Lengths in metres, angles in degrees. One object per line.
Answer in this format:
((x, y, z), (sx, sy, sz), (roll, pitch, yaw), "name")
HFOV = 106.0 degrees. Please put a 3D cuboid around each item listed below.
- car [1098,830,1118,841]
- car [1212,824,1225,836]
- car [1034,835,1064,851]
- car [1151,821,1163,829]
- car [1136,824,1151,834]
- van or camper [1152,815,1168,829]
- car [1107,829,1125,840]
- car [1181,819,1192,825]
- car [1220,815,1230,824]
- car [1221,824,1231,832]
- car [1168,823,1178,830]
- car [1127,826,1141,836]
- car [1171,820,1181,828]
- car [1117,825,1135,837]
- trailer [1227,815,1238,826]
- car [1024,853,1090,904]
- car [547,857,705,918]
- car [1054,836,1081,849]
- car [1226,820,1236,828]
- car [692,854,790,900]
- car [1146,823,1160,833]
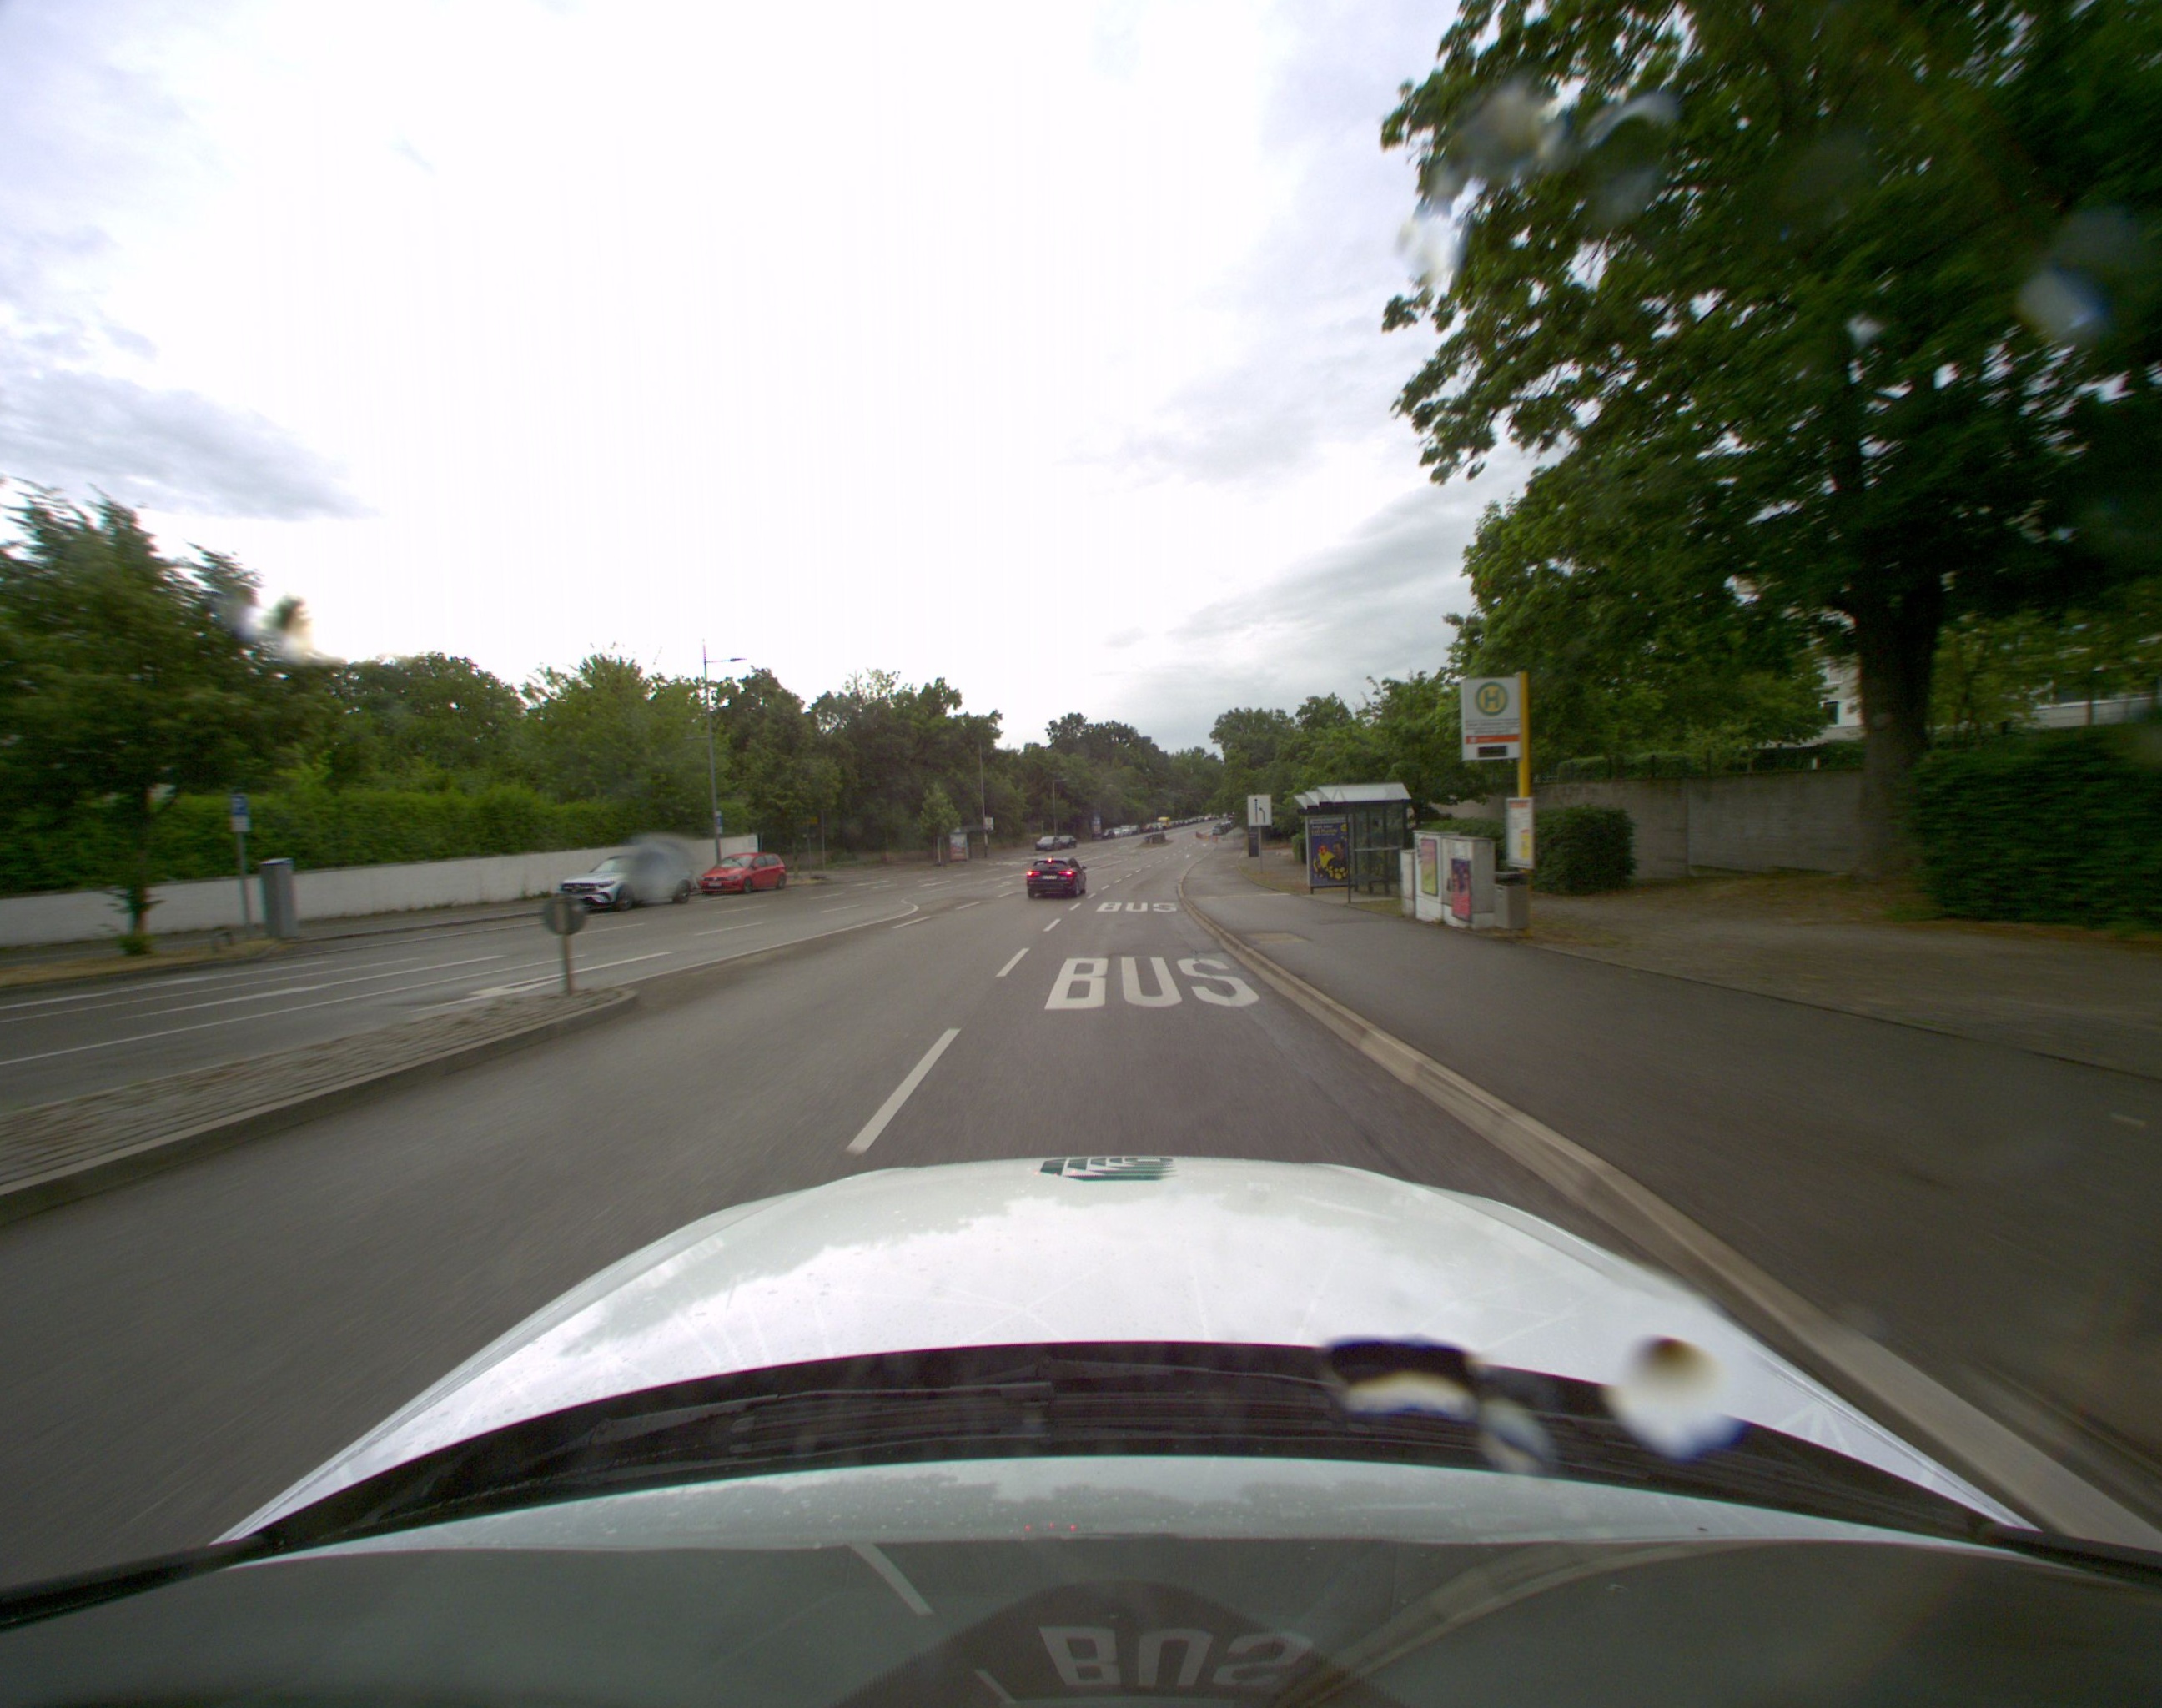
((4.022, -2.772, 121.189), (1.735, 1.444, 4.609), (-1, 3, 18), "car")
((21.402, -3.742, 126.422), (1.810, 1.614, 4.266), (-1, 3, 11), "car")
((-3.418, -1.235, 87.350), (1.827, 1.589, 4.949), (0, 2, 14), "car")
((15.073, -5.670, 161.203), (1.605, 1.448, 3.673), (-2, 3, 16), "car")
((11.543, -4.674, 150.010), (1.904, 1.616, 4.510), (-2, 3, 16), "car")
((16.318, -6.525, 167.322), (2.127, 2.626, 5.709), (-1, 3, 16), "van or camper")
((5.500, -3.095, 126.169), (1.705, 1.460, 4.729), (-1, 3, 15), "car")
((24.926, -7.579, 192.084), (1.856, 1.303, 4.490), (-1, 3, 15), "car")
((25.901, -6.213, 146.454), (1.549, 1.460, 3.690), (0, 3, 12), "car")
((27.371, -4.908, 153.543), (1.647, 1.464, 3.917), (1, 4, 15), "car")
((20.208, -5.989, 178.567), (1.590, 1.509, 3.153), (-1, 3, 17), "car")
((9.222, -3.984, 140.422), (1.719, 1.648, 4.588), (-1, 3, 12), "car")
((21.510, -6.768, 183.743), (1.590, 1.509, 3.995), (-1, 3, 17), "car")
((7.395, -3.710, 132.926), (1.979, 1.765, 4.981), (-1, 3, 15), "car")
((32.455, -7.136, 174.066), (1.892, 2.247, 4.789), (-1, 3, 15), "trailer")
((-0.811, 0.835, 29.639), (1.871, 1.465, 4.008), (0, 4, 6), "car")
((-14.121, 0.968, 25.662), (1.754, 1.653, 4.894), (0, 1, 7), "car")
((-1.535, -1.358, 93.789), (1.892, 1.414, 4.803), (0, 2, 14), "car")
((31.078, -6.110, 168.209), (1.810, 1.485, 4.215), (-3, 0, 12), "car")
((-13.460, 0.867, 32.499), (1.656, 1.586, 4.226), (-2, 1, 7), "car")
((13.833, -5.018, 156.707), (1.979, 1.699, 4.634), (-1, 3, 14), "car")
